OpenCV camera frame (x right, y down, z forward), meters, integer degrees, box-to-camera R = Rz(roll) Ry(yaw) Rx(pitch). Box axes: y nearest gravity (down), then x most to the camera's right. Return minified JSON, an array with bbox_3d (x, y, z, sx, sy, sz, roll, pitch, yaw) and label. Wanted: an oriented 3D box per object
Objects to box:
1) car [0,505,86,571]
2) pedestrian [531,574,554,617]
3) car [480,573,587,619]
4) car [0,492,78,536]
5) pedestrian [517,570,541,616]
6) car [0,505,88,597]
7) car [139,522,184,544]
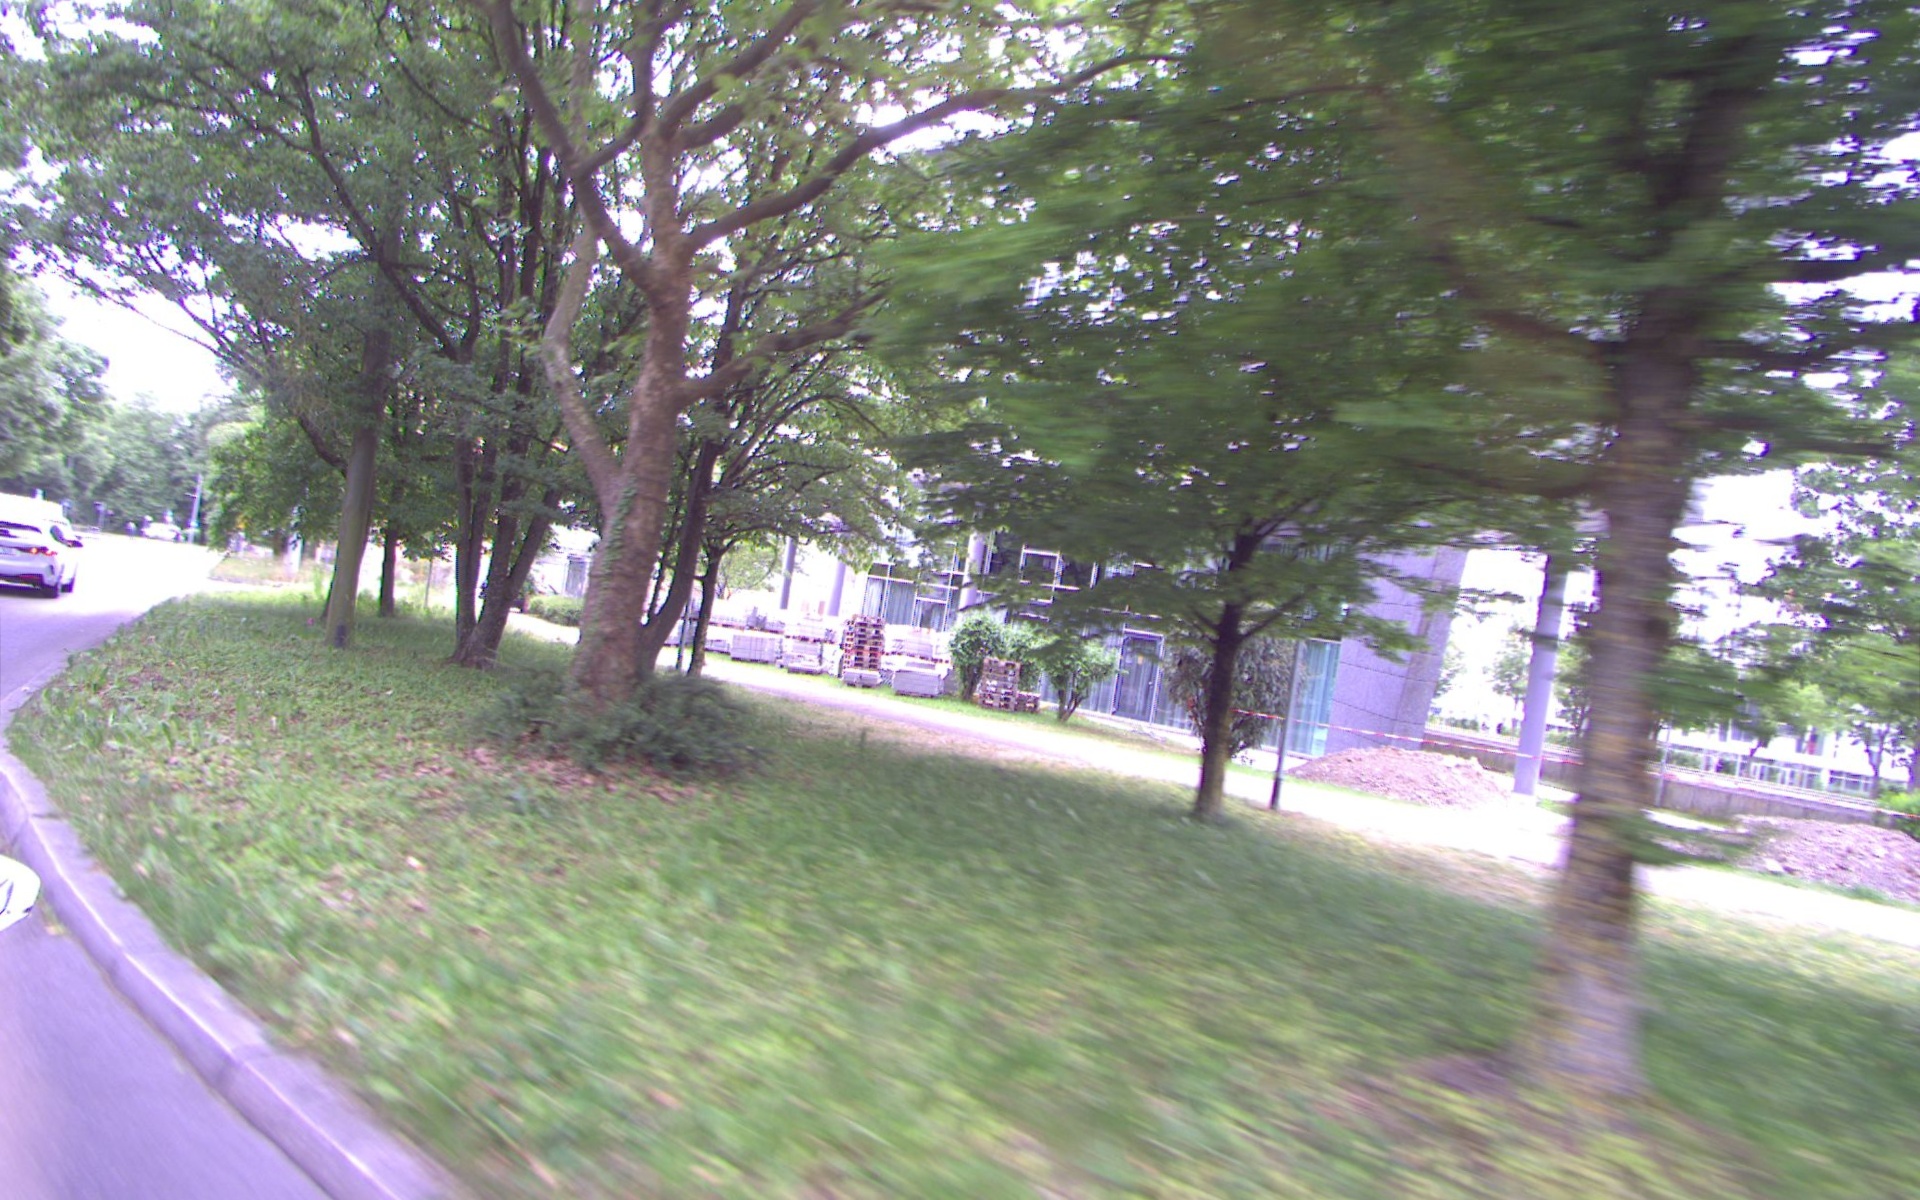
[{"bbox_3d":[-27.197,-1.824,29.522,1.914,1.591,3.960,9,-3,-37],"label":"car"},{"bbox_3d":[-17.388,-0.181,41.924,0.527,1.748,0.497,8,3,25],"label":"pedestrian"},{"bbox_3d":[-18.319,-0.132,43.470,1.835,1.534,4.748,6,-2,11],"label":"car"},{"bbox_3d":[-76.164,-7.148,81.308,2.046,2.548,6.993,9,-3,18],"label":"car"},{"bbox_3d":[-17.675,-0.282,41.221,0.574,1.777,0.474,8,3,25],"label":"pedestrian"},{"bbox_3d":[-18.733,-1.016,19.912,1.788,1.534,4.166,10,-4,-37],"label":"car"},{"bbox_3d":[-124.913,-10.424,157.438,2.098,2.320,5.396,10,-4,4],"label":"car"}]
